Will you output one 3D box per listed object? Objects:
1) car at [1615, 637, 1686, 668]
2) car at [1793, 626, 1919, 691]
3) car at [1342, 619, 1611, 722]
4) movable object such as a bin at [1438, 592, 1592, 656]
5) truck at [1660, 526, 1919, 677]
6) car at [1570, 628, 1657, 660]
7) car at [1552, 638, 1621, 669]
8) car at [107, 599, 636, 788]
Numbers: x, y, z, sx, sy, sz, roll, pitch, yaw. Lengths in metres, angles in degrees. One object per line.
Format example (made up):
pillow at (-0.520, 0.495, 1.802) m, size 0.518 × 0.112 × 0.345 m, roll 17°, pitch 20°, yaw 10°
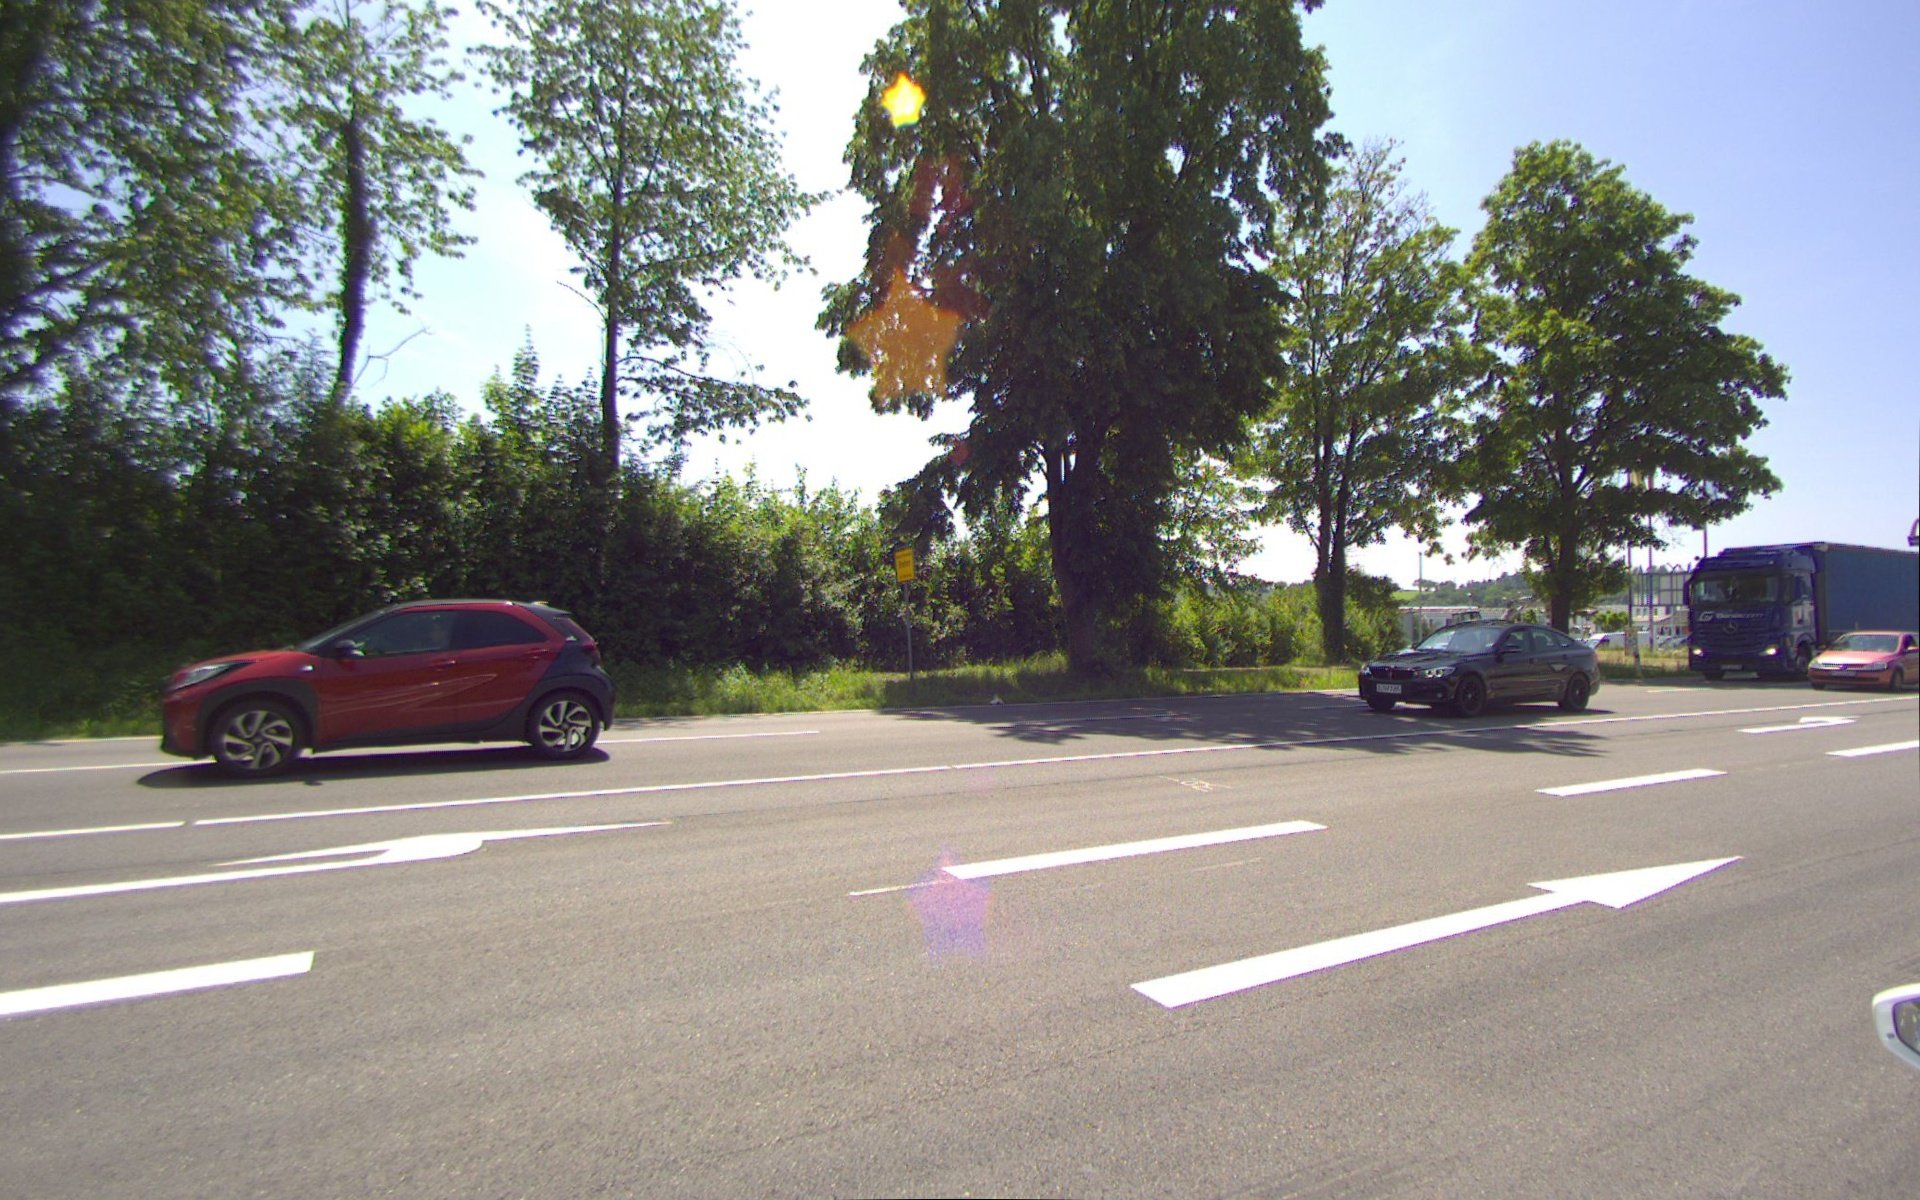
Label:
car at (40.277, 3.024, 58.721) m, size 1.803 × 1.639 × 4.003 m, roll 1°, pitch -1°, yaw 8°
car at (22.274, 1.388, 24.585) m, size 3.731 × 1.465 × 1.758 m, roll 1°, pitch -2°, yaw -30°
car at (8.670, 1.121, 16.751) m, size 4.635 × 1.500 × 1.908 m, roll 2°, pitch -2°, yaw -32°
movable object such as a bin at (29.931, 1.306, 54.487) m, size 6.654 × 3.342 × 3.055 m, roll 0°, pitch -1°, yaw 11°
truck at (29.229, 0.249, 33.557) m, size 16.378 × 4.232 × 2.954 m, roll 1°, pitch -2°, yaw -30°
car at (48.443, 3.244, 74.555) m, size 5.087 × 2.212 × 2.001 m, roll 0°, pitch -1°, yaw 8°
car at (36.682, 3.090, 58.954) m, size 1.959 × 1.673 × 4.003 m, roll 1°, pitch -1°, yaw 8°
car at (-5.283, 0.781, 9.506) m, size 3.970 × 1.457 × 1.634 m, roll 1°, pitch -2°, yaw -30°
